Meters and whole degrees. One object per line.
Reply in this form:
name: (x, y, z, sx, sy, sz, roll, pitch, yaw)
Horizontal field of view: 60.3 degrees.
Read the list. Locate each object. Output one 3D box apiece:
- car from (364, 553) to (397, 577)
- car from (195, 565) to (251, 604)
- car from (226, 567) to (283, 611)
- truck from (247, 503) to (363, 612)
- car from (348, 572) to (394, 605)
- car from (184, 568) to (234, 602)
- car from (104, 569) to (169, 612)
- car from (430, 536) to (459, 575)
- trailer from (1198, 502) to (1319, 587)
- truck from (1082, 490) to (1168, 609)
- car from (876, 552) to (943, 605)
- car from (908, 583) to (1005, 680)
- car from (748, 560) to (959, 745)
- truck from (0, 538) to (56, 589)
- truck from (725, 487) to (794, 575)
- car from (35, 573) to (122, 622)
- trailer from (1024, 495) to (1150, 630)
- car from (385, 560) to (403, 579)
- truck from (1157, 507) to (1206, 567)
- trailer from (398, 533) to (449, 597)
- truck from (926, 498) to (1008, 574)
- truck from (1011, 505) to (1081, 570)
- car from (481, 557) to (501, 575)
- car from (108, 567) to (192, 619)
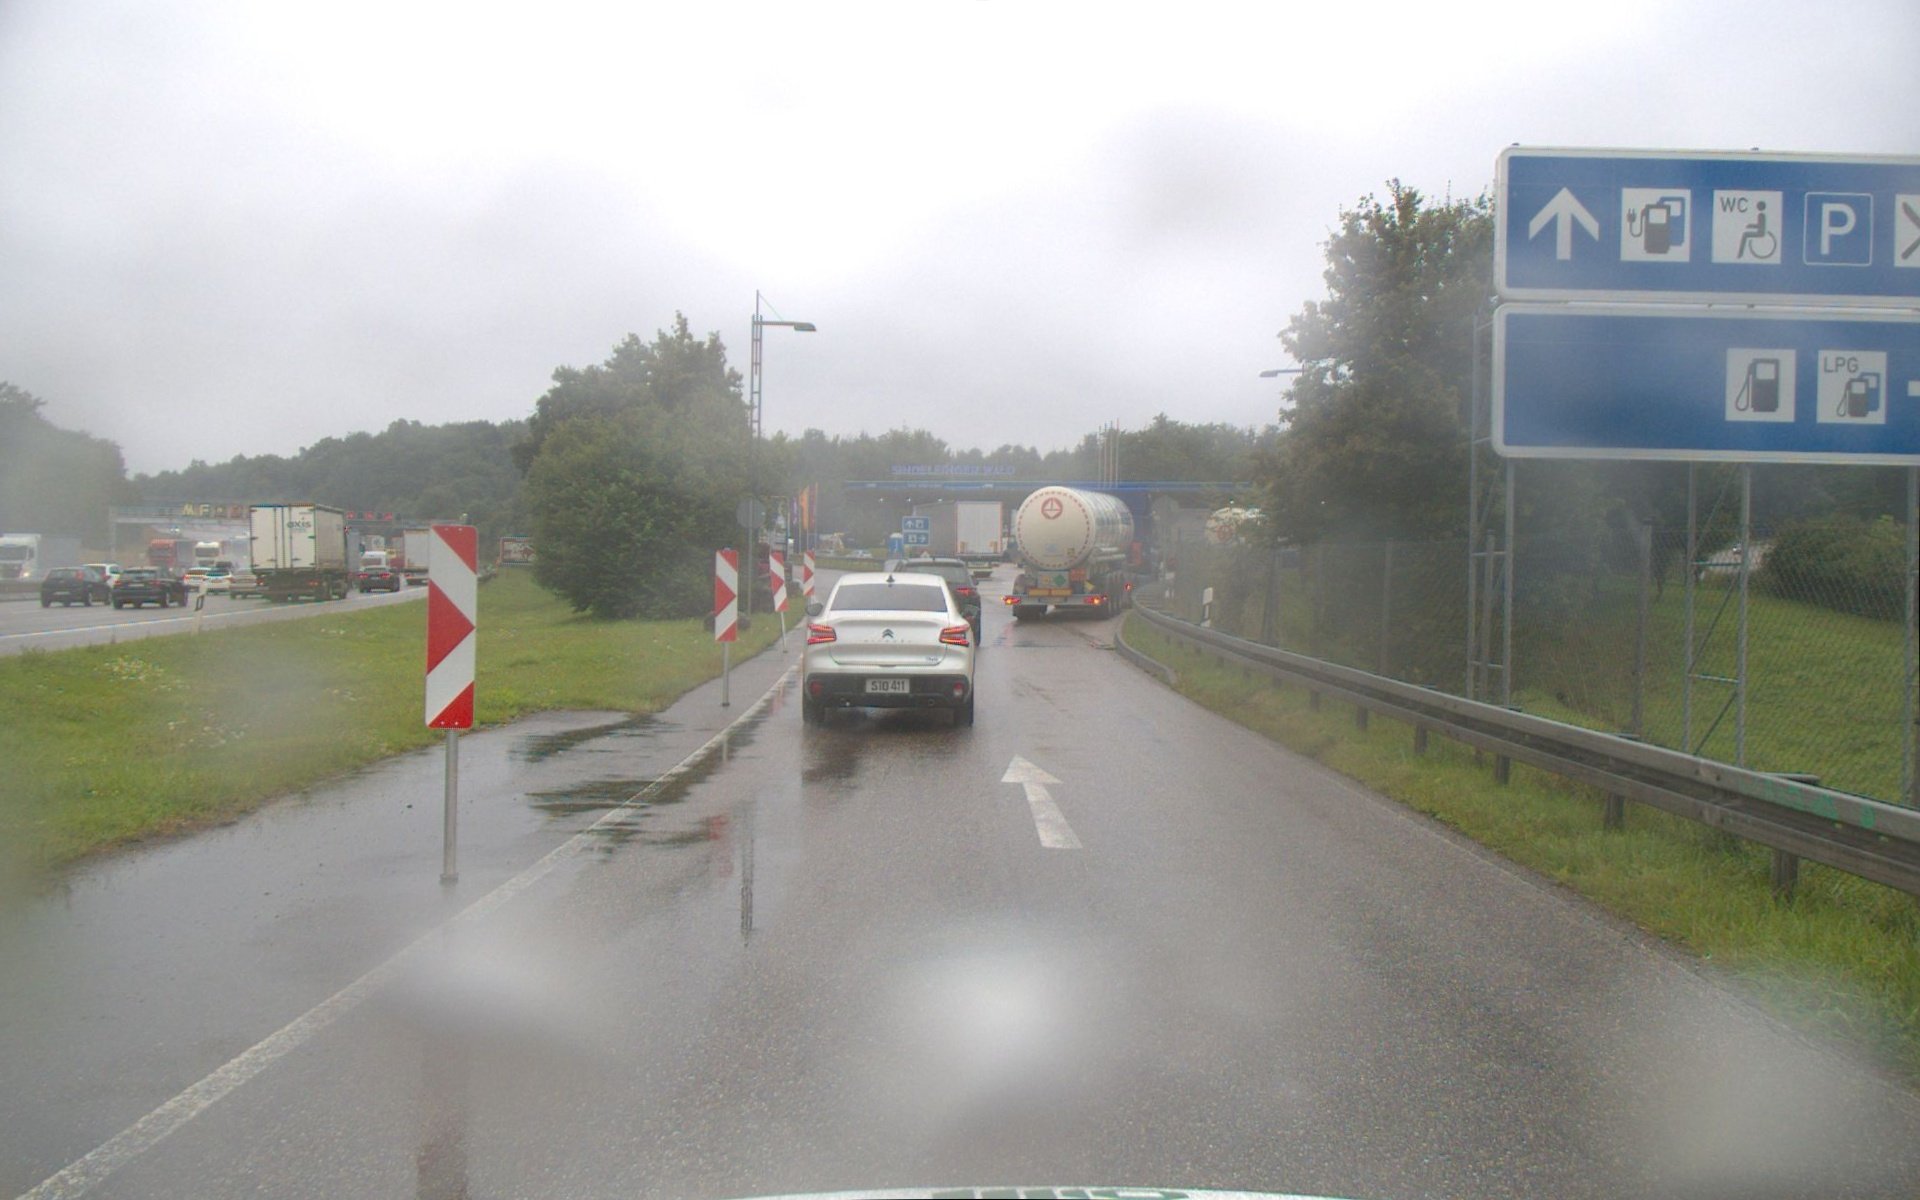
car: (-49.037, -2.962, 139.996, 1.957, 1.847, 3.991, 3, 0, -10)
car: (-40.571, -0.837, 91.101, 1.959, 2.049, 3.988, 2, 0, -12)
car: (-33.808, -0.532, 79.345, 1.757, 2.005, 4.320, 1, 0, -13)
truck: (-28.422, -1.759, 72.334, 2.799, 4.367, 11.806, -1, 0, -12)
car: (-33.713, -0.672, 94.733, 1.959, 1.847, 3.988, 1, 0, -12)
car: (-46.495, -0.945, 102.473, 1.959, 2.049, 3.988, -1, 1, -12)
car: (-41.100, -0.474, 82.648, 1.959, 2.049, 3.988, -1, 0, -12)
car: (-49.266, -4.208, 158.142, 2.335, 3.546, 4.793, 3, 0, -17)
trailer: (13.312, -2.455, 72.941, 2.091, 3.500, 10.238, 1, 2, 29)
truck: (5.285, -1.603, 52.412, 2.009, 3.592, 4.750, 1, 2, 14)
car: (-1.559, -0.671, 49.768, 1.841, 1.487, 3.998, 1, 1, -4)
car: (-0.046, 0.577, 32.325, 1.707, 1.696, 4.000, 3, 0, 0)
car: (-1.041, 0.477, 17.547, 1.953, 1.708, 3.999, -1, 0, -1)
truck: (-71.784, -2.813, 127.044, 2.667, 3.594, 4.749, 4, 2, -12)
truck: (-9.474, -3.211, 77.535, 2.862, 3.972, 6.302, 0, 2, -10)
car: (-33.795, -0.141, 63.514, 1.744, 1.766, 4.089, -2, 1, -11)
trailer: (3.677, -1.078, 45.411, 1.938, 3.280, 10.332, 1, 2, 13)
car: (-65.297, -3.503, 190.841, 1.649, 2.048, 3.978, 7, -2, -19)
truck: (14.741, -4.226, 110.209, 2.378, 3.871, 3.996, -1, 3, -6)
trailer: (-41.687, -2.661, 128.836, 3.492, 4.692, 12.063, -1, 1, -17)
truck: (0.267, -3.603, 92.875, 2.328, 3.941, 12.425, -1, 2, -10)
truck: (5.923, -4.380, 115.158, 3.173, 4.260, 8.429, 1, 2, -8)
car: (-54.956, -3.971, 193.791, 1.963, 2.048, 3.979, 3, 0, -19)
car: (-28.792, -0.264, 58.867, 1.744, 1.766, 3.836, 0, 1, -11)
